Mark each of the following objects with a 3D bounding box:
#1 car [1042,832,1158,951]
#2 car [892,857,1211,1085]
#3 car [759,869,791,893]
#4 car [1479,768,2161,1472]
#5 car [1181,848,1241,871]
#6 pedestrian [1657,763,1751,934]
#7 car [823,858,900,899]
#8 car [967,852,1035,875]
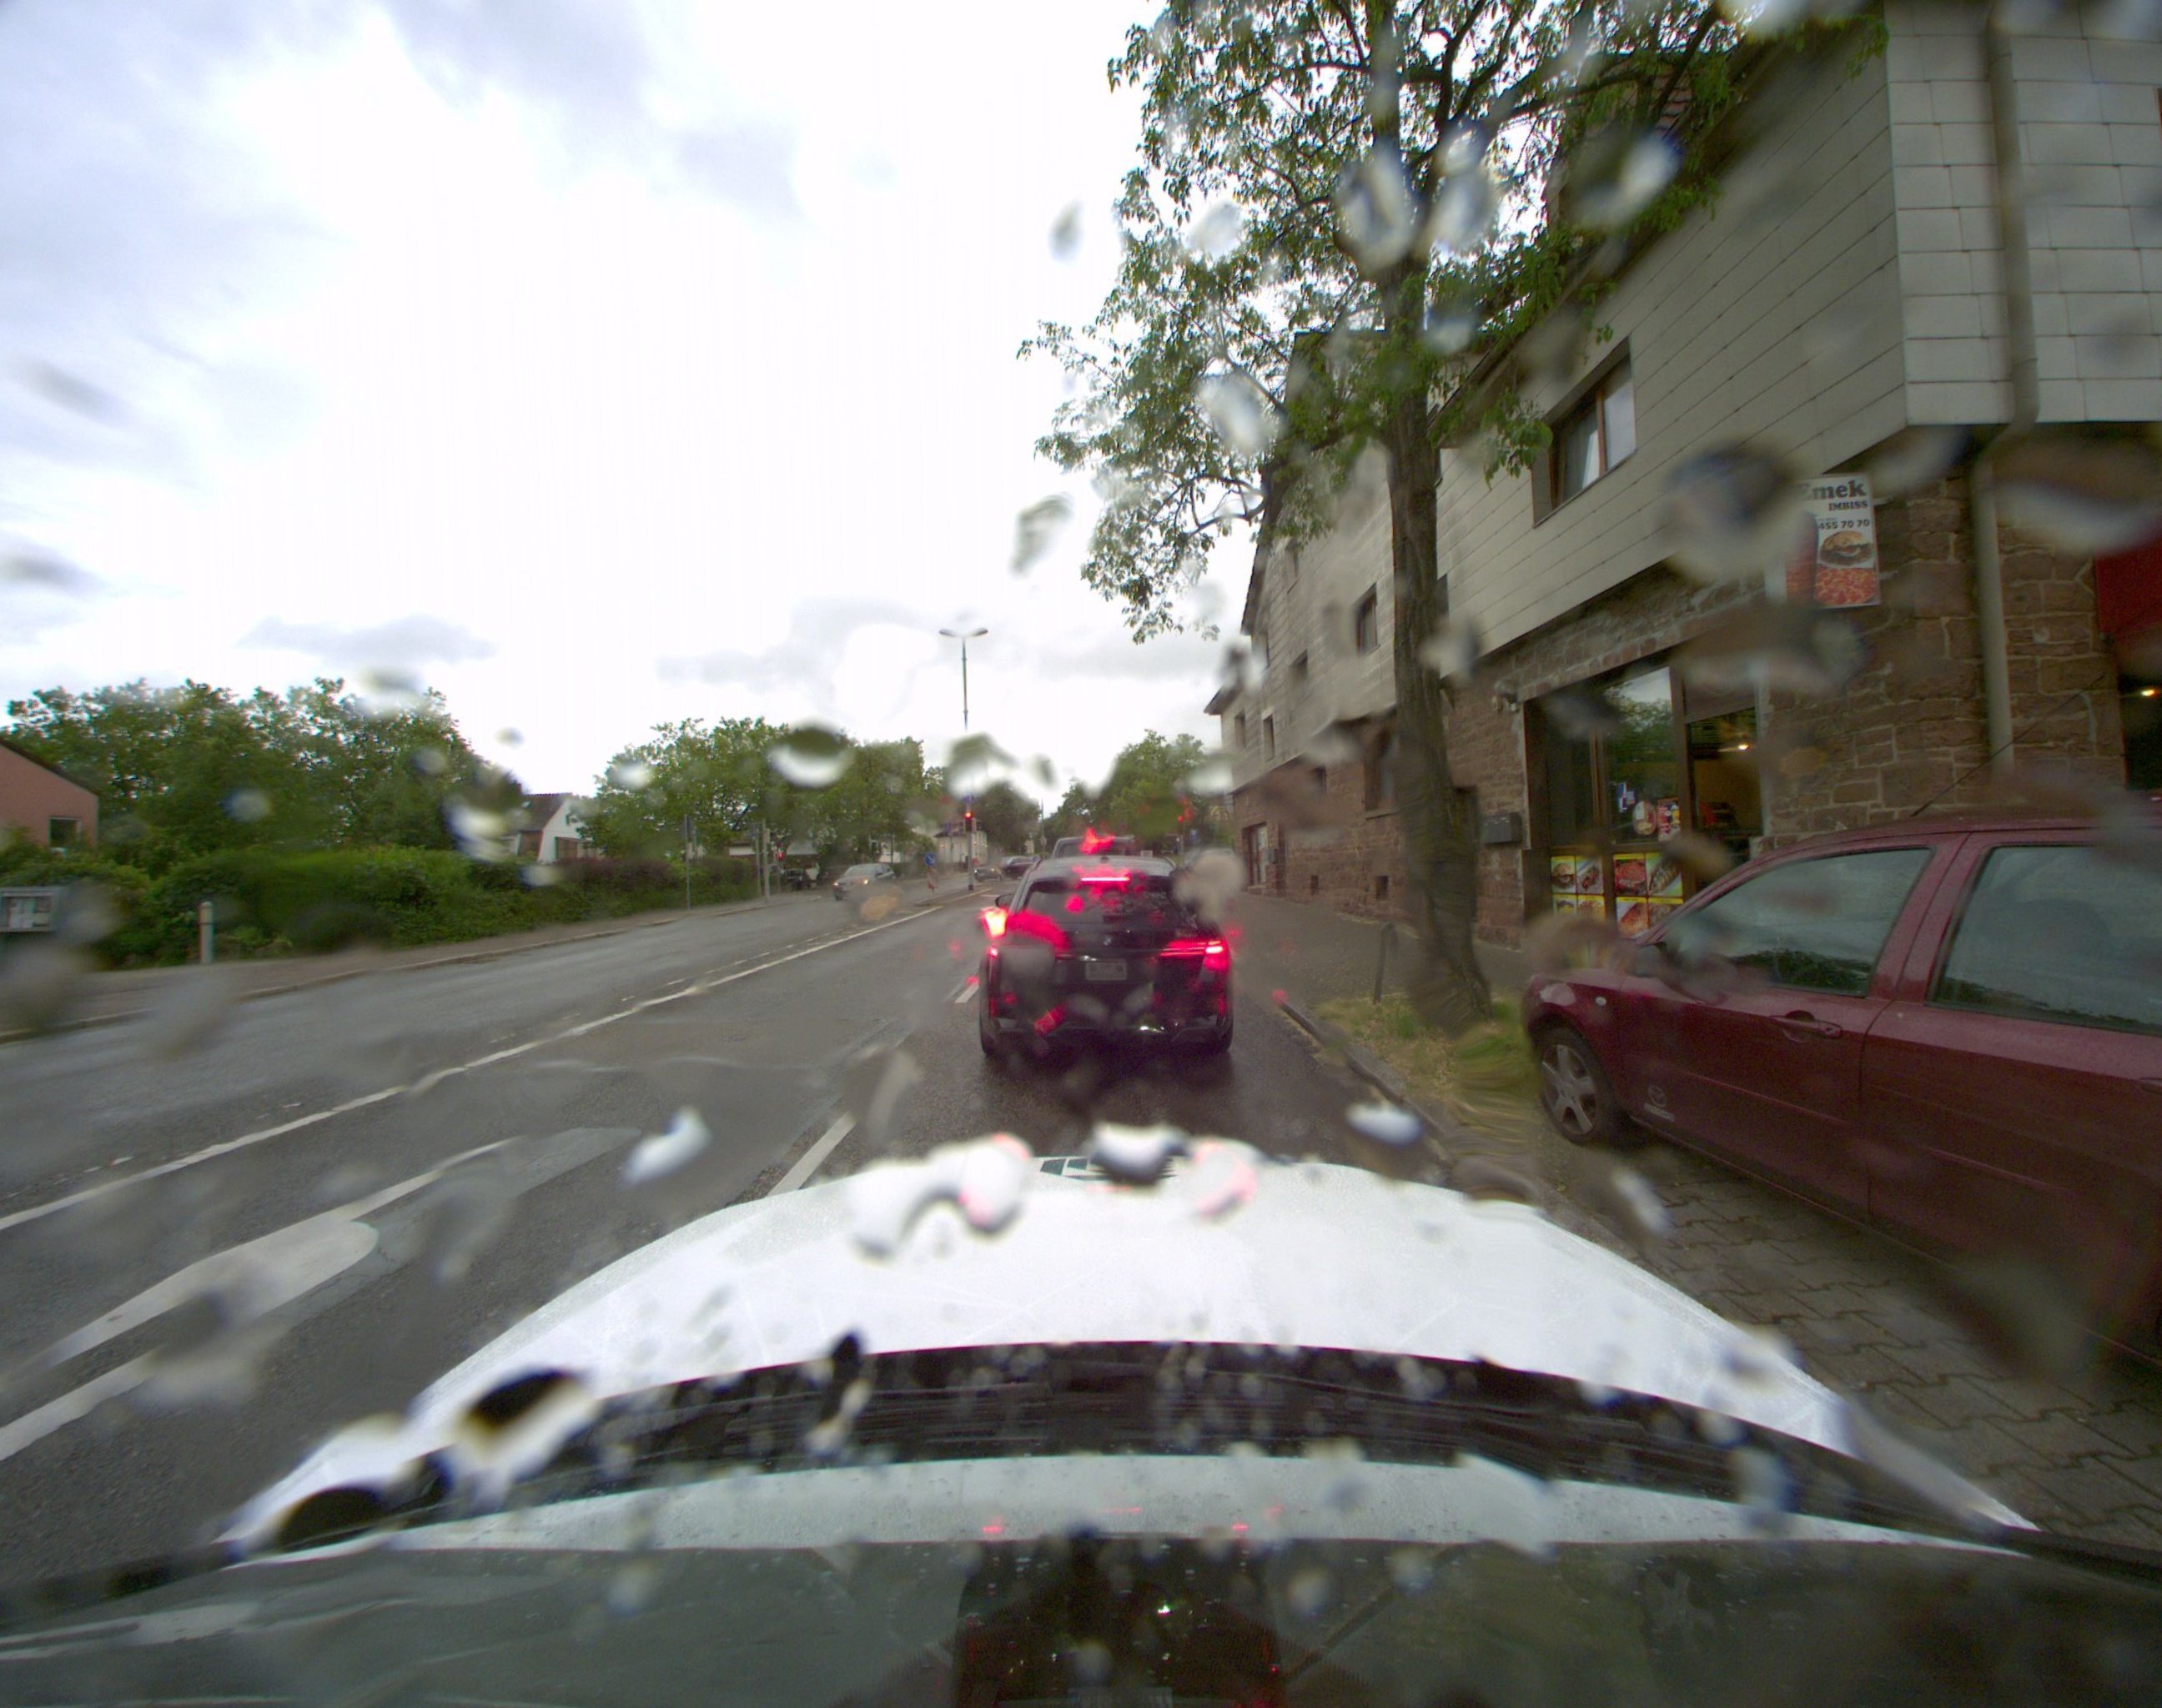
[{"bbox_3d":[0.291,0.573,14.718,1.778,1.817,3.999,-1,0,0],"label":"car"},{"bbox_3d":[-0.209,0.769,7.547,2.058,1.446,4.481,-1,0,-1],"label":"car"},{"bbox_3d":[-21.656,1.876,57.718,2.000,1.552,3.973,-2,0,-20],"label":"car"},{"bbox_3d":[3.034,0.513,2.629,1.579,1.490,3.625,-5,1,-1],"label":"car"},{"bbox_3d":[9.692,0.376,60.710,4.001,1.552,1.812,-2,0,-21],"label":"car"},{"bbox_3d":[6.910,-0.060,9.054,0.635,1.839,0.483,-1,0,1],"label":"pedestrian"},{"bbox_3d":[-9.157,0.987,34.330,1.985,1.510,3.958,-1,0,3],"label":"car"},{"bbox_3d":[-4.901,0.593,50.290,1.825,1.288,4.026,-1,0,38],"label":"car"}]
